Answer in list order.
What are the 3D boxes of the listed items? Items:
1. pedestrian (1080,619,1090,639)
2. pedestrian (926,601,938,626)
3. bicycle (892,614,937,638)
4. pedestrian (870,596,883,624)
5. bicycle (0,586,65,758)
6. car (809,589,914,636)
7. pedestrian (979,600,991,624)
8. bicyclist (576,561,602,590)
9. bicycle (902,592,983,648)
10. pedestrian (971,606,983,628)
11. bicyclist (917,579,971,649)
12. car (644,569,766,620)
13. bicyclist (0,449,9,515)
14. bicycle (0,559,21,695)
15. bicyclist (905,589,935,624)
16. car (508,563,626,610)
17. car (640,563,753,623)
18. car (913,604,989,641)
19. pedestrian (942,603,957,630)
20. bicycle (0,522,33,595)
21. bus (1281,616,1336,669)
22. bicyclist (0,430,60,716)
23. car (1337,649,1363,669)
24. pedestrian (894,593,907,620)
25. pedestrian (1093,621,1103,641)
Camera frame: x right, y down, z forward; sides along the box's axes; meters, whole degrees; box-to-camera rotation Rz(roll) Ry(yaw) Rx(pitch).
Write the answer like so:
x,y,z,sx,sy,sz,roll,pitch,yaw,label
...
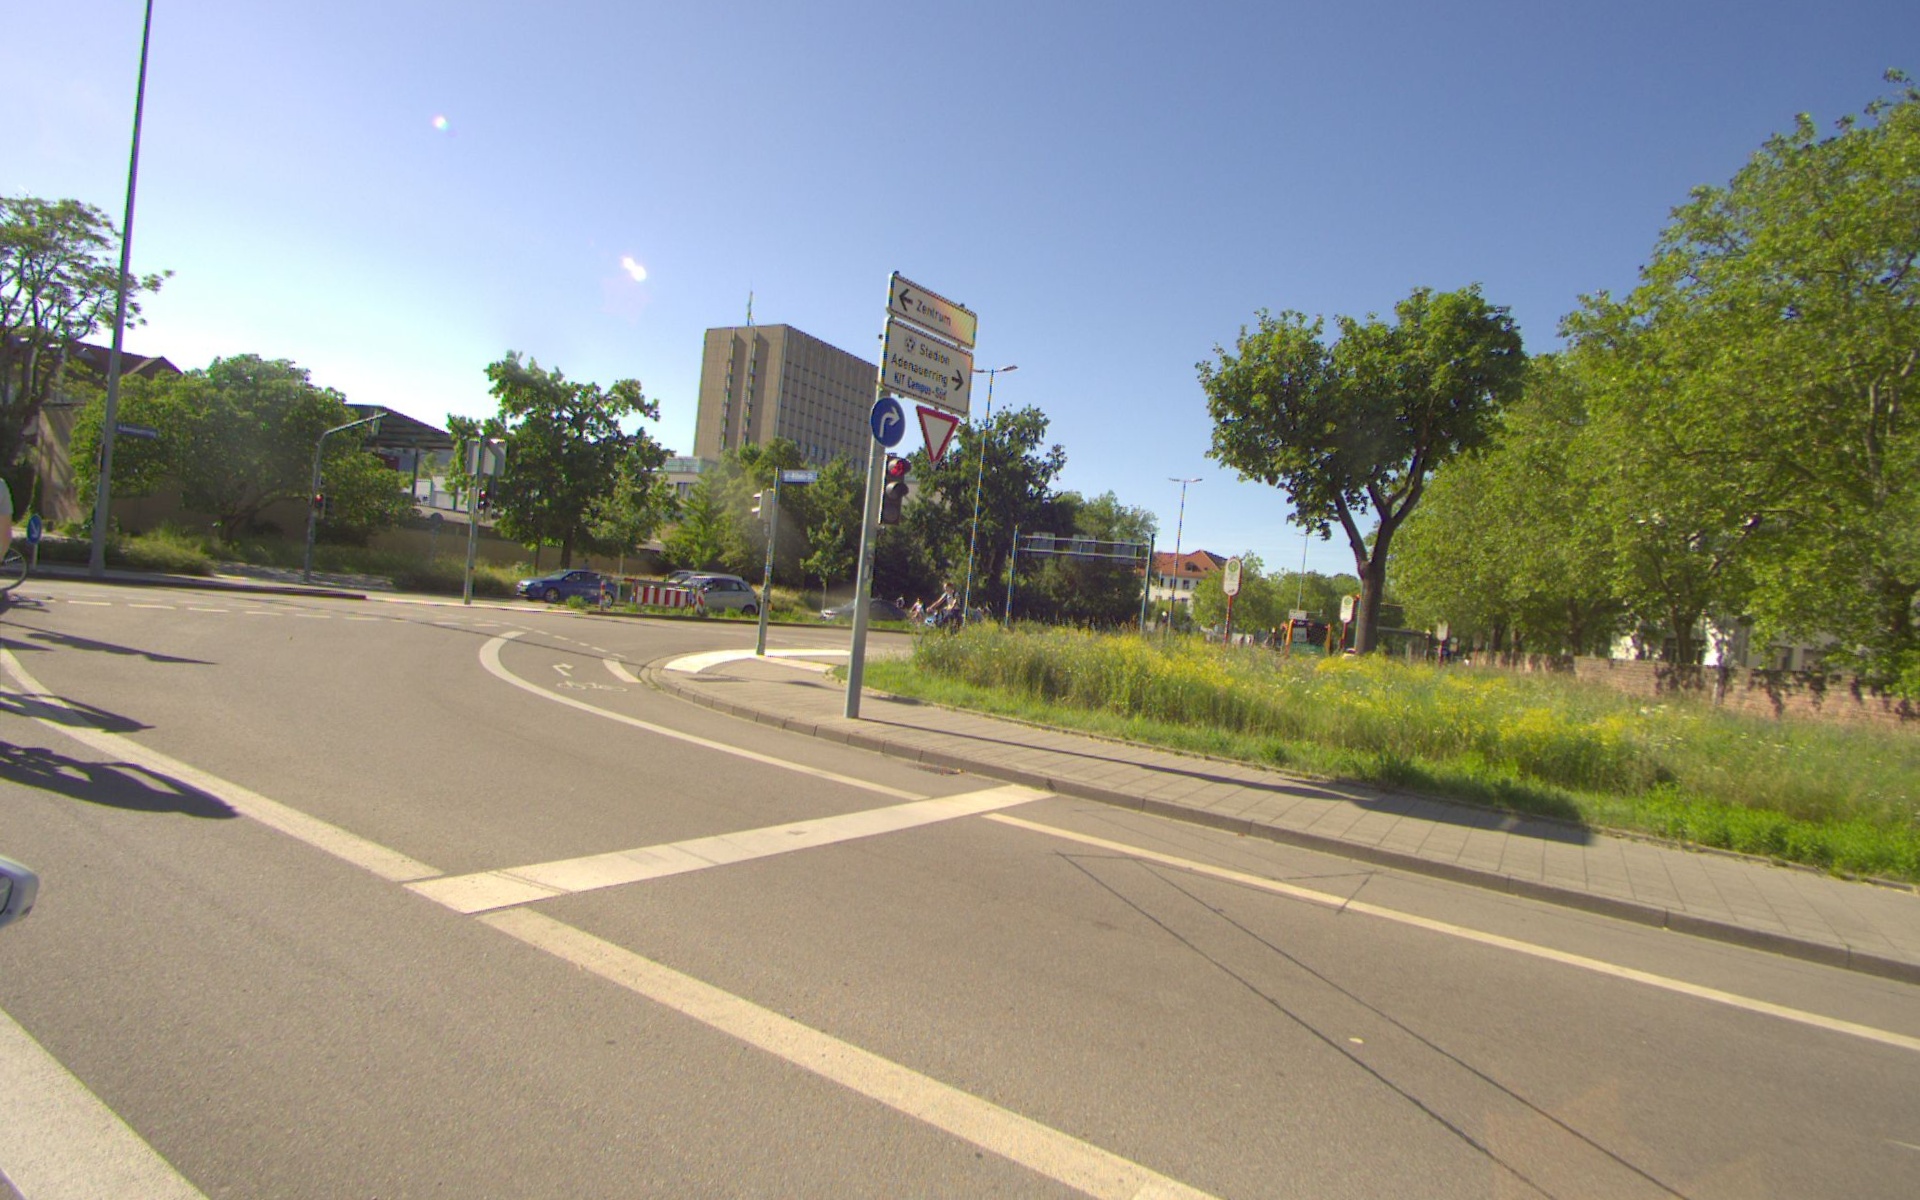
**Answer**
x,y,z,sx,sy,sz,roll,pitch,yaw,label
11.839,2.740,95.331,0.519,1.801,0.561,7,1,35,pedestrian
-2.096,1.033,75.005,0.519,1.801,0.561,7,1,35,pedestrian
-2.346,1.335,52.019,0.778,1.032,2.630,7,0,36,bicycle
-5.719,0.683,68.839,0.519,1.800,0.561,6,1,37,pedestrian
-6.292,0.344,6.092,1.946,0.906,0.741,6,-2,33,bicycle
-4.306,0.579,44.711,1.968,1.604,4.735,6,0,34,car
1.985,0.948,79.061,0.519,1.801,0.561,7,1,35,pedestrian
-17.887,-1.175,48.477,0.684,1.334,0.826,8,4,30,bicyclist
-0.344,0.440,21.221,0.510,1.007,2.055,7,0,35,bicycle
1.362,1.353,79.454,0.519,1.716,0.561,7,1,35,pedestrian
-0.328,0.310,21.224,0.510,1.368,1.002,7,1,35,bicyclist
-9.433,-0.170,37.432,1.840,1.426,4.046,6,0,38,car
-8.136,-0.372,7.781,1.048,1.759,0.647,7,-1,26,bicyclist
-8.202,0.089,7.776,1.935,1.014,0.661,6,-1,26,bicycle
-2.077,0.349,52.204,0.778,1.649,1.315,7,1,37,bicyclist
-16.089,-0.515,41.341,1.717,1.453,4.162,7,0,38,car
-12.309,-0.274,47.332,1.968,2.131,4.885,6,-2,34,car
-0.387,1.155,50.373,1.758,1.448,3.989,6,0,34,car
-0.755,1.238,74.478,0.702,1.872,0.561,7,1,35,pedestrian
-14.211,-0.645,13.891,0.731,1.008,1.980,6,2,40,bicycle
23.003,2.908,66.063,2.745,2.662,10.120,7,-2,21,bus
-6.218,-0.217,6.092,1.000,1.688,0.752,6,-1,33,bicyclist
33.768,5.125,87.016,1.669,1.525,3.771,6,0,25,car
-4.266,0.471,72.006,0.519,1.800,0.561,7,1,35,pedestrian
13.150,2.937,95.905,0.519,1.801,0.561,7,1,35,pedestrian
